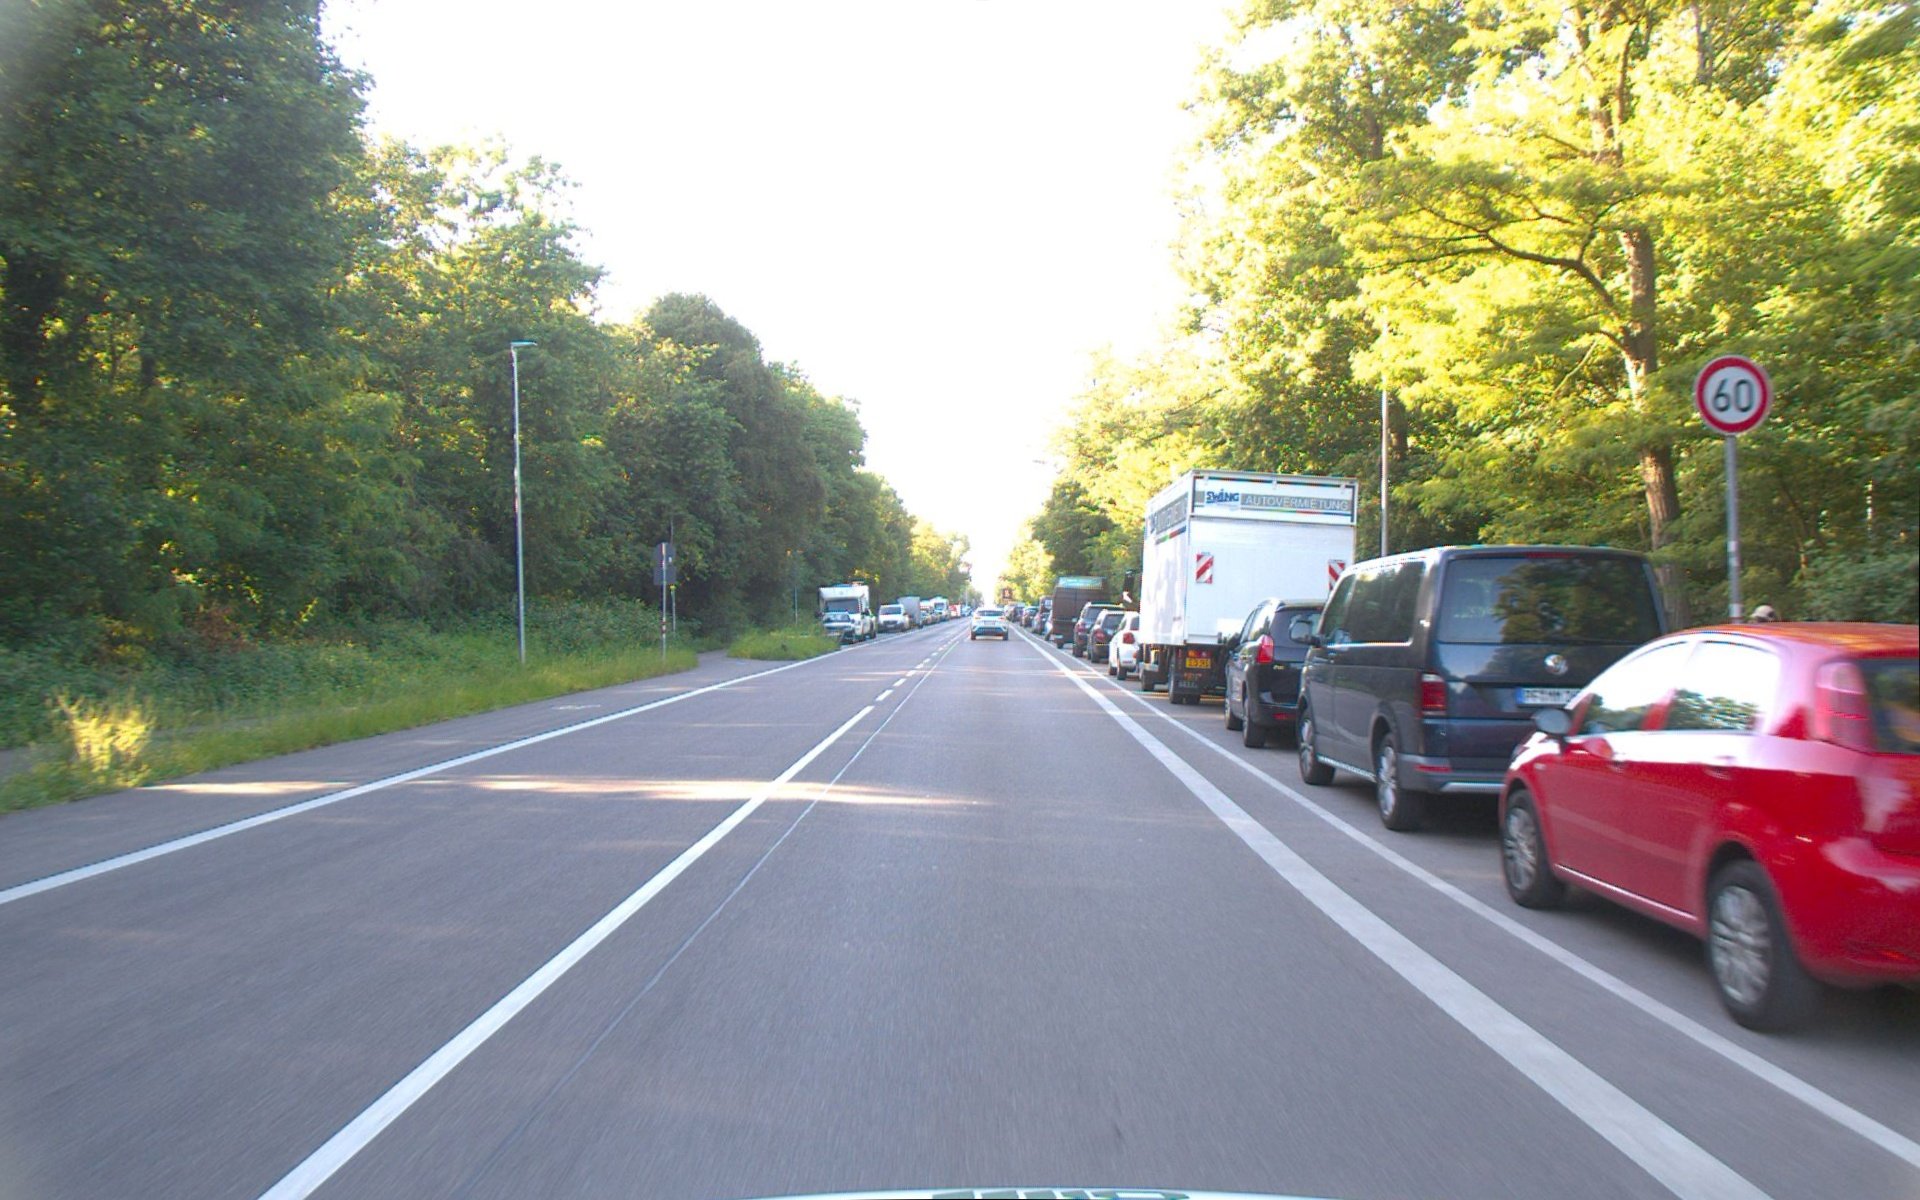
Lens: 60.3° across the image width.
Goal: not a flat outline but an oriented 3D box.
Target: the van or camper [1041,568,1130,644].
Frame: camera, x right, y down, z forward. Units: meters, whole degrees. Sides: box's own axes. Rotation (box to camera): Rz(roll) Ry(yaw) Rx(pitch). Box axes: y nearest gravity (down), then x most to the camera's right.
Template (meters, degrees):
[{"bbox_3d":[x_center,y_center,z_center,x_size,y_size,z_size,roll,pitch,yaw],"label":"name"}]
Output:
[{"bbox_3d":[5.067,0.225,65.622,2.389,2.849,6.561,-1,0,14],"label":"van or camper"}]

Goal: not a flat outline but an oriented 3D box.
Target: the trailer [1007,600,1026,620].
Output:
[{"bbox_3d":[8.480,1.469,246.952,2.700,2.920,6.589,0,0,1],"label":"trailer"}]

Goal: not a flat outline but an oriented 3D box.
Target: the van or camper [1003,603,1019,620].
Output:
[{"bbox_3d":[6.200,1.432,202.211,1.952,1.966,5.199,1,0,1],"label":"van or camper"}]

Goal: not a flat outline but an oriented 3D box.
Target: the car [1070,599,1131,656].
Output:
[{"bbox_3d":[4.432,0.852,52.658,1.676,1.694,4.552,2,0,2],"label":"car"}]

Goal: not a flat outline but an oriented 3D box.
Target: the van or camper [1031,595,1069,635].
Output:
[{"bbox_3d":[5.528,0.880,101.855,1.993,2.352,6.041,-1,0,0],"label":"van or camper"}]

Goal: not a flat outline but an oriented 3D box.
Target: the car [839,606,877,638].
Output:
[{"bbox_3d":[-5.499,1.177,89.484,1.612,1.660,4.274,-2,0,1],"label":"car"}]

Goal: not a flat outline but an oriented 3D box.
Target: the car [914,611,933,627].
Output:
[{"bbox_3d":[-3.643,1.919,164.999,1.696,1.504,4.324,-2,0,1],"label":"car"}]

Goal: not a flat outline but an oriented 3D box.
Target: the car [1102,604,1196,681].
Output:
[{"bbox_3d":[4.171,0.908,37.062,1.676,1.596,4.000,2,0,1],"label":"car"}]

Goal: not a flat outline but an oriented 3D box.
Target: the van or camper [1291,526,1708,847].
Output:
[{"bbox_3d":[3.940,0.564,12.981,1.858,2.049,4.587,-1,0,1],"label":"van or camper"}]

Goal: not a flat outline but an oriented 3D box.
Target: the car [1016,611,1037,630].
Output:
[{"bbox_3d":[5.687,1.732,142.141,1.655,1.551,4.150,1,0,1],"label":"car"}]

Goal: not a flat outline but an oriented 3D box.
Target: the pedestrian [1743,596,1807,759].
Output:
[{"bbox_3d":[8.260,0.776,16.774,0.386,1.616,0.482,-1,-1,0],"label":"pedestrian"}]

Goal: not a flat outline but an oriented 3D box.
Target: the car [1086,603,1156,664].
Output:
[{"bbox_3d":[4.536,0.905,47.121,1.676,1.596,4.552,2,0,2],"label":"car"}]

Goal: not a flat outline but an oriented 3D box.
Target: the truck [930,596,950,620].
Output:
[{"bbox_3d":[-2.918,1.228,242.855,2.652,3.406,10.924,0,0,1],"label":"truck"}]

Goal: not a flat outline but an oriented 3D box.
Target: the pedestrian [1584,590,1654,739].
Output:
[{"bbox_3d":[7.325,0.709,18.398,0.552,1.616,0.482,-1,-1,0],"label":"pedestrian"}]

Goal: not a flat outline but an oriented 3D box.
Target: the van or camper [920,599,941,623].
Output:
[{"bbox_3d":[-3.251,1.187,184.340,2.077,2.617,6.543,-1,0,1],"label":"van or camper"}]

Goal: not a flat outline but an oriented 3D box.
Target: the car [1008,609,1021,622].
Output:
[{"bbox_3d":[7.400,2.109,224.979,1.803,1.691,4.001,0,0,2],"label":"car"}]

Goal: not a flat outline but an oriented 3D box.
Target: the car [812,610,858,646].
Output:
[{"bbox_3d":[-5.569,1.243,74.051,1.790,1.501,4.679,-2,0,-2],"label":"car"}]

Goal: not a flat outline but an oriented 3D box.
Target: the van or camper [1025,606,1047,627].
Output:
[{"bbox_3d":[6.842,1.444,148.846,1.911,1.847,4.381,0,0,1],"label":"van or camper"}]

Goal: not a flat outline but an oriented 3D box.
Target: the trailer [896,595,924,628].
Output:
[{"bbox_3d":[-4.191,0.941,138.717,1.952,2.643,4.416,-3,0,1],"label":"trailer"}]

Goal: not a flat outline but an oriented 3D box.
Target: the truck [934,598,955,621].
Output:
[{"bbox_3d":[-2.103,1.332,231.562,2.652,3.148,7.990,0,0,1],"label":"truck"}]

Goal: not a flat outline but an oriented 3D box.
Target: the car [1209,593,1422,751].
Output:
[{"bbox_3d":[4.117,0.778,19.785,1.761,1.686,4.029,-1,0,1],"label":"car"}]

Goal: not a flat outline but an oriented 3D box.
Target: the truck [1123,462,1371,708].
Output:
[{"bbox_3d":[4.618,-0.209,28.462,2.774,3.559,8.578,-1,0,0],"label":"truck"}]

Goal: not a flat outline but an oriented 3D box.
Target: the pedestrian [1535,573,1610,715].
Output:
[{"bbox_3d":[7.920,0.559,21.419,0.605,1.795,0.906,-1,0,0],"label":"pedestrian"}]

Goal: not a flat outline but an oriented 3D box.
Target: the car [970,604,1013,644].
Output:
[{"bbox_3d":[1.513,1.121,78.966,1.987,1.872,4.029,-1,0,1],"label":"car"}]

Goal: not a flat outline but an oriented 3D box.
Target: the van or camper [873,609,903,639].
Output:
[{"bbox_3d":[-5.011,1.656,115.411,1.798,1.945,4.856,-2,0,0],"label":"van or camper"}]

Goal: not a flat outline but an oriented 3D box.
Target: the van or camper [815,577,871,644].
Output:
[{"bbox_3d":[-5.679,0.504,81.321,2.268,3.022,7.109,-3,0,-1],"label":"van or camper"}]

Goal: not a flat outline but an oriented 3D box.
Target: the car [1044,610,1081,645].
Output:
[{"bbox_3d":[4.979,1.323,80.613,1.676,1.572,4.023,2,0,2],"label":"car"}]
